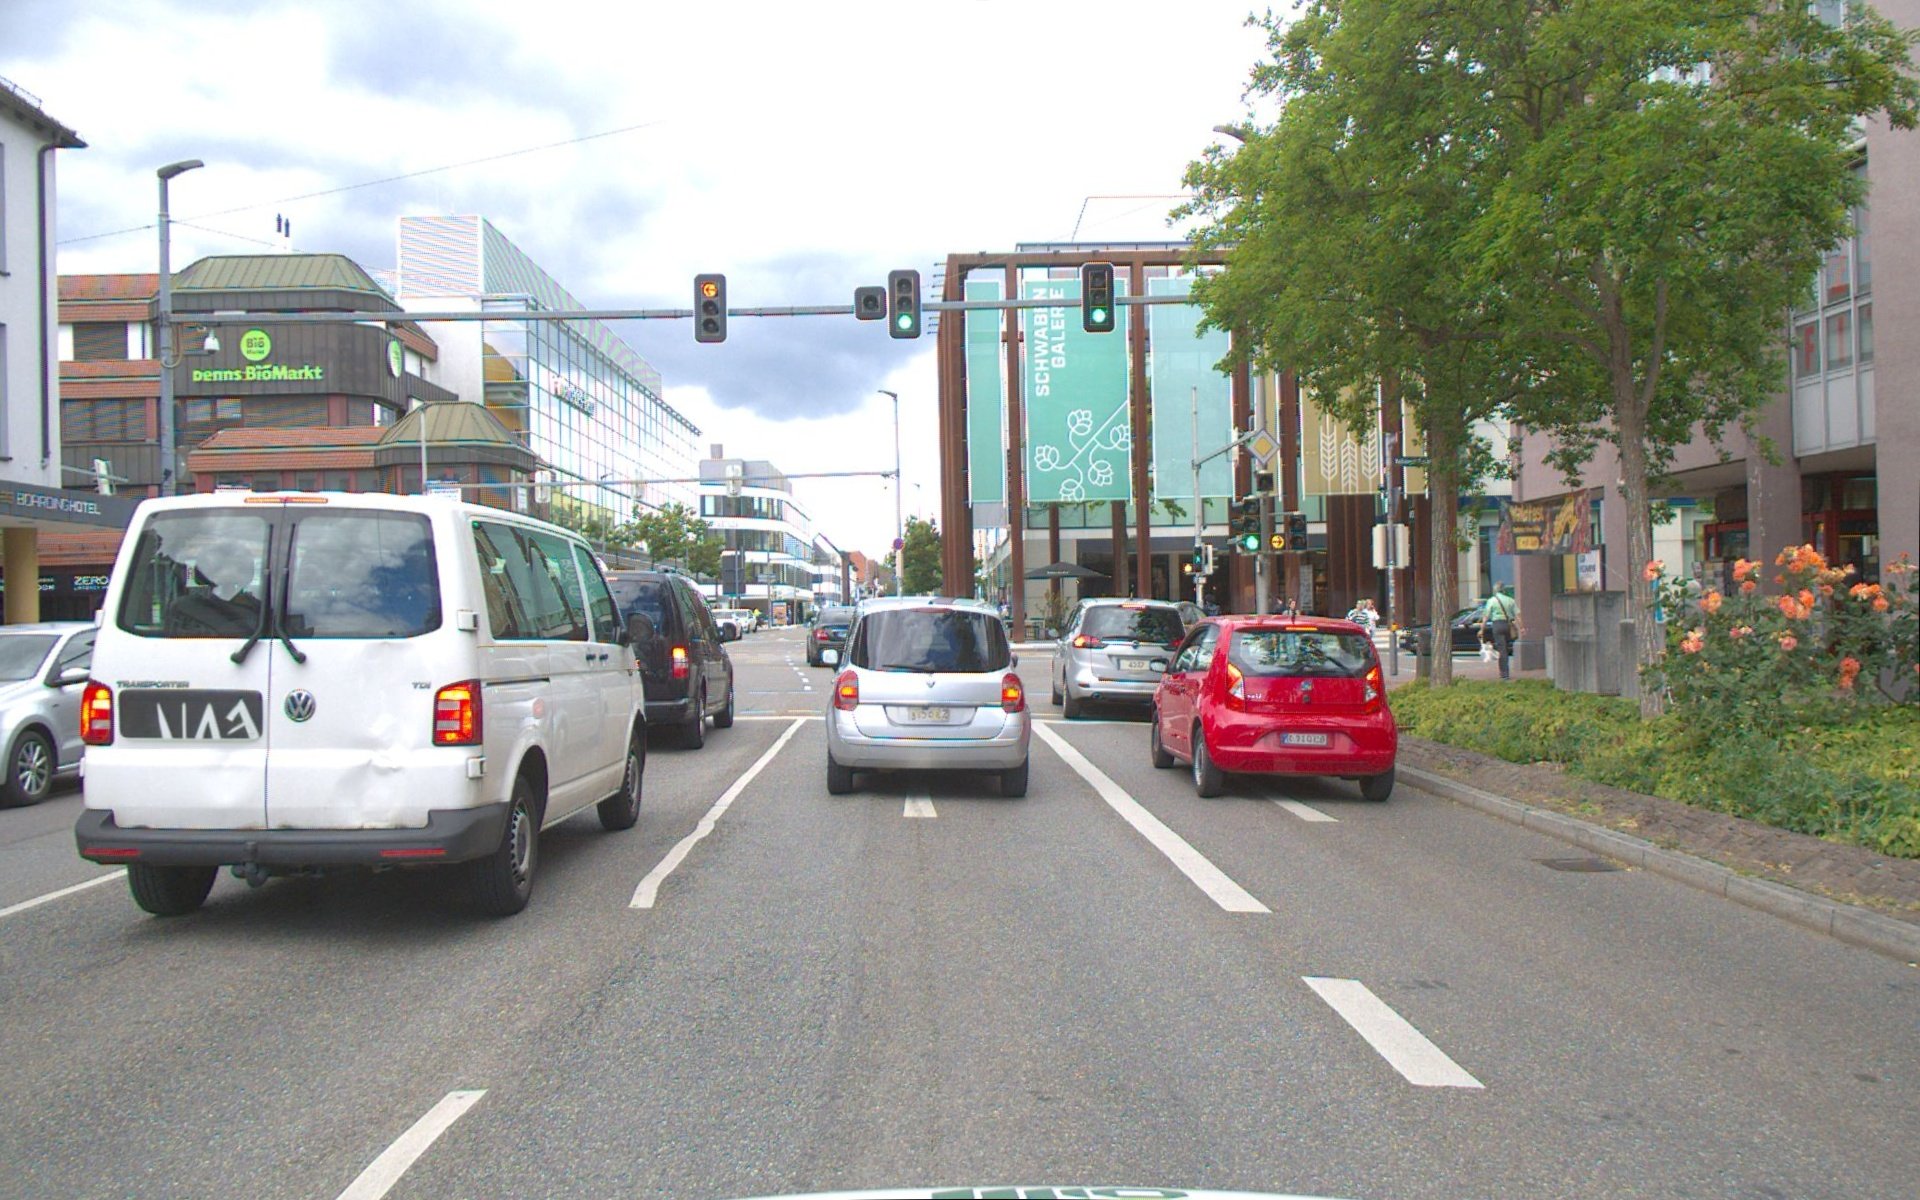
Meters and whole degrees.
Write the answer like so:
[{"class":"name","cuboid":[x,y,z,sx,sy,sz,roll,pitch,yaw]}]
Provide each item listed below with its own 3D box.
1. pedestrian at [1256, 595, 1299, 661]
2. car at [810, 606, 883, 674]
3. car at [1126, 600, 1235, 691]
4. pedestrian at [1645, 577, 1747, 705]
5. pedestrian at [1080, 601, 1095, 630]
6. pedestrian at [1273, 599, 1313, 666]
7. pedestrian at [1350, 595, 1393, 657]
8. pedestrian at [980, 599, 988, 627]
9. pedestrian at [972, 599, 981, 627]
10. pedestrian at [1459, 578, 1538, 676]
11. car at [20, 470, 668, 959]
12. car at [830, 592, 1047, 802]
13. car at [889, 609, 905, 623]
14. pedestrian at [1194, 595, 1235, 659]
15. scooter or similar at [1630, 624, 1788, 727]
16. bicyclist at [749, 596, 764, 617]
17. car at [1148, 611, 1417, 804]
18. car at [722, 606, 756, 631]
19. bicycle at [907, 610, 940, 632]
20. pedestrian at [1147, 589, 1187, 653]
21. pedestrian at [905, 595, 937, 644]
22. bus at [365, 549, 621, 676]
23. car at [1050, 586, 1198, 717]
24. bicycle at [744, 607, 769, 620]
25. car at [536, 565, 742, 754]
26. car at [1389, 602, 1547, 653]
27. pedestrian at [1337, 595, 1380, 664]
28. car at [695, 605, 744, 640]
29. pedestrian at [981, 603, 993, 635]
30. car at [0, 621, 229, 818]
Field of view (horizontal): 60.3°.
[{"class":"pedestrian","cuboid":[8.773,0.767,45.761,0.861,1.798,1.119,-1,0,-4]},{"class":"car","cuboid":[-2.789,0.958,41.195,1.636,1.581,3.641,1,0,-2]},{"class":"car","cuboid":[4.453,0.829,32.788,1.811,1.637,4.865,0,0,11]},{"class":"pedestrian","cuboid":[9.894,0.539,22.271,0.792,1.654,1.092,-2,0,-4]},{"class":"pedestrian","cuboid":[5.354,0.648,69.623,0.505,1.229,0.795,-1,1,-3]},{"class":"pedestrian","cuboid":[8.433,0.807,41.935,0.727,1.654,0.952,-2,0,-5]},{"class":"pedestrian","cuboid":[11.074,0.695,44.528,0.805,1.623,1.038,-1,0,-4]},{"class":"pedestrian","cuboid":[1.382,0.743,94.912,0.418,1.576,0.481,-1,0,-3]},{"class":"pedestrian","cuboid":[0.938,0.736,94.835,0.418,1.576,0.481,-1,0,-3]},{"class":"pedestrian","cuboid":[9.856,0.478,30.290,1.035,1.745,1.109,-1,0,-3]},{"class":"car","cuboid":[-3.014,0.488,9.386,1.953,2.049,4.838,0,0,-2]},{"class":"car","cuboid":[-0.209,0.745,14.446,1.636,1.581,3.641,1,0,-2]},{"class":"car","cuboid":[-6.901,1.759,182.002,1.626,1.491,3.999,-2,0,-1]},{"class":"pedestrian","cuboid":[7.033,0.738,45.710,0.861,1.711,1.119,-1,0,-4]},{"class":"scooter or similar","cuboid":[8.527,0.838,18.916,0.463,1.106,1.878,-2,-1,-18]},{"class":"bicyclist","cuboid":[-16.873,0.530,137.272,0.994,1.689,0.924,1,-1,-28]},{"class":"car","cuboid":[2.727,0.852,14.741,1.593,1.474,3.641,1,0,-2]},{"class":"car","cuboid":[-14.090,1.155,105.532,1.626,1.491,3.999,-2,0,-1]},{"class":"bicycle","cuboid":[-1.751,1.011,78.915,1.528,1.010,0.752,-1,0,2]},{"class":"pedestrian","cuboid":[5.723,0.578,45.691,0.861,1.711,1.119,-1,0,-4]},{"class":"pedestrian","cuboid":[-1.366,0.689,57.434,0.854,1.675,0.678,-1,0,33]},{"class":"bus","cuboid":[-14.442,0.282,52.785,2.924,3.385,12.317,-4,0,8]},{"class":"car","cuboid":[2.322,0.692,24.340,1.704,1.731,4.380,1,0,0]},{"class":"bicycle","cuboid":[-16.879,1.126,137.256,0.994,1.036,3.102,1,0,-27]},{"class":"car","cuboid":[-3.482,0.594,18.681,1.674,1.852,4.568,1,0,-4]},{"class":"car","cuboid":[14.926,0.789,48.721,4.090,1.429,1.799,0,0,-4]},{"class":"pedestrian","cuboid":[9.785,0.706,40.632,0.727,1.654,0.952,-2,0,-5]},{"class":"car","cuboid":[-10.993,1.025,75.829,1.709,1.484,4.234,-2,0,-2]},{"class":"pedestrian","cuboid":[1.069,0.740,65.532,0.438,1.241,0.606,-1,0,1]},{"class":"car","cuboid":[-8.142,0.954,14.496,1.723,1.474,4.034,-2,-1,-1]}]
